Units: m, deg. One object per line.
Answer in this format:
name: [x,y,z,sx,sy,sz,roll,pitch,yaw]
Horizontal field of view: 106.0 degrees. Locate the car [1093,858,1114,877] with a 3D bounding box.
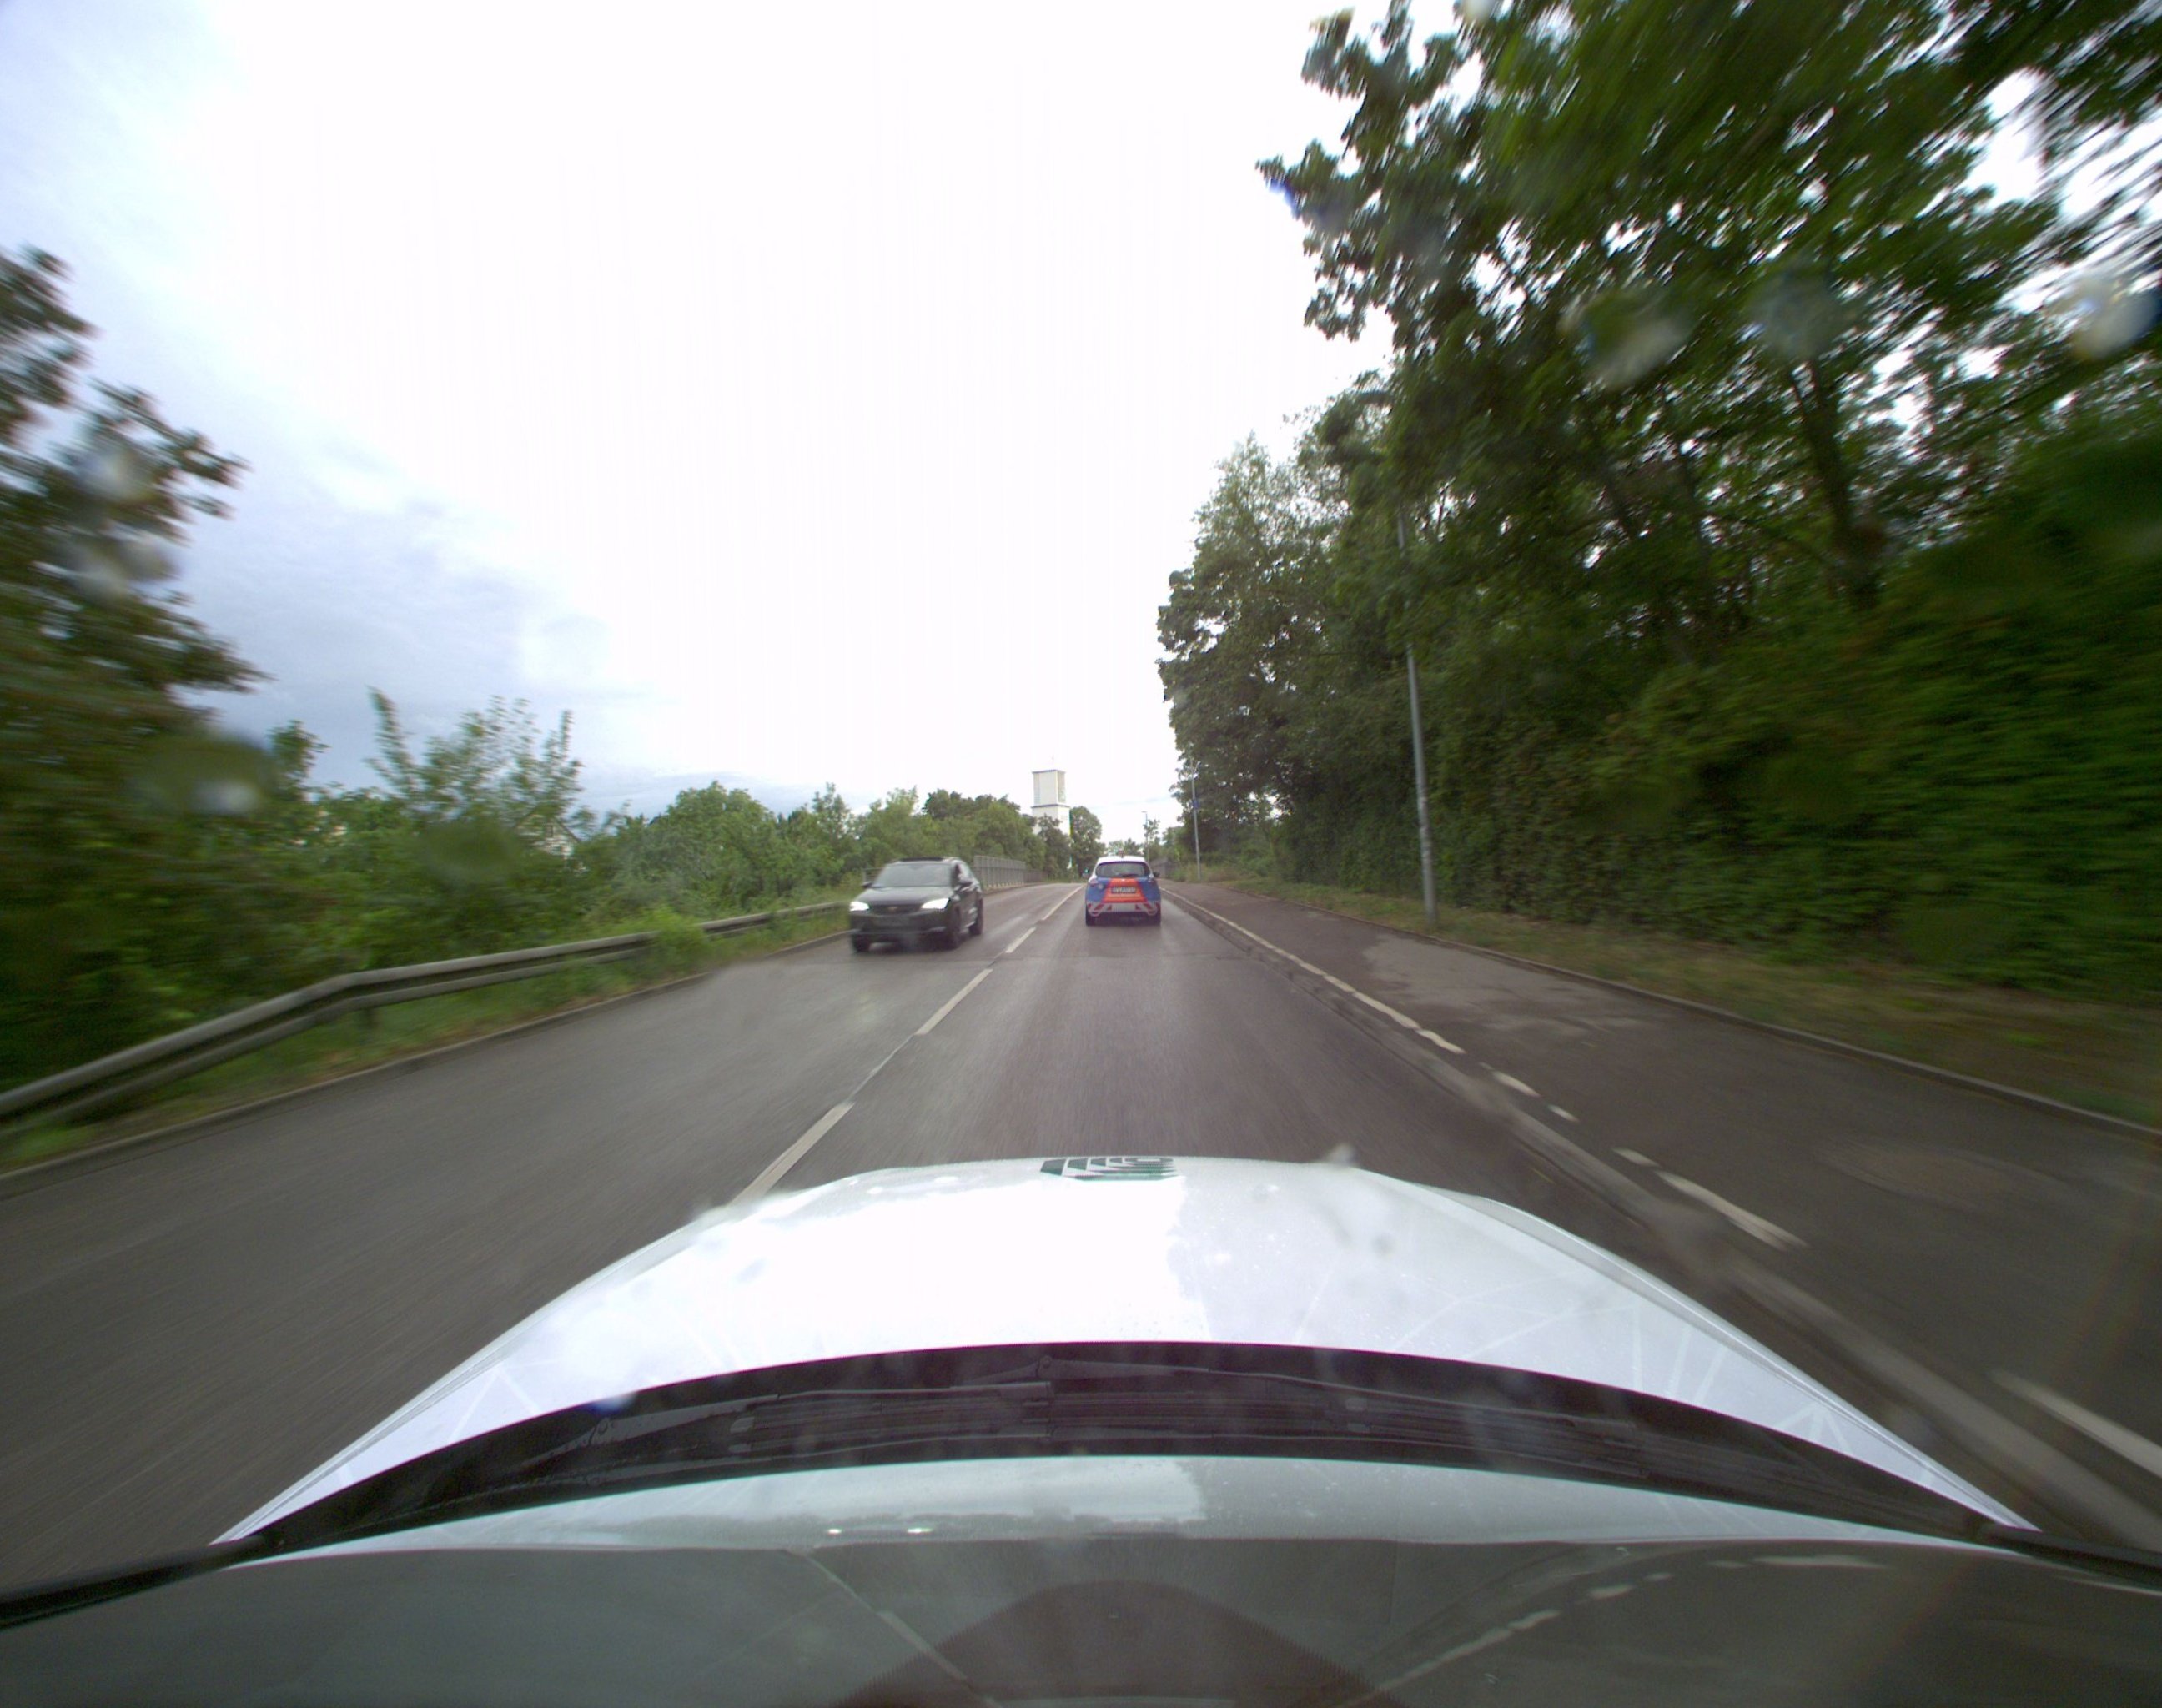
car: [2.056,1.212,74.258,1.795,1.590,3.565,-4,0,2]

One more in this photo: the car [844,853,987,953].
car: [-2.953,0.804,15.424,1.724,1.585,4.081,-2,0,1]

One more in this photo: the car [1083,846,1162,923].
car: [0.959,0.687,19.517,1.651,1.593,3.569,-2,-1,2]
